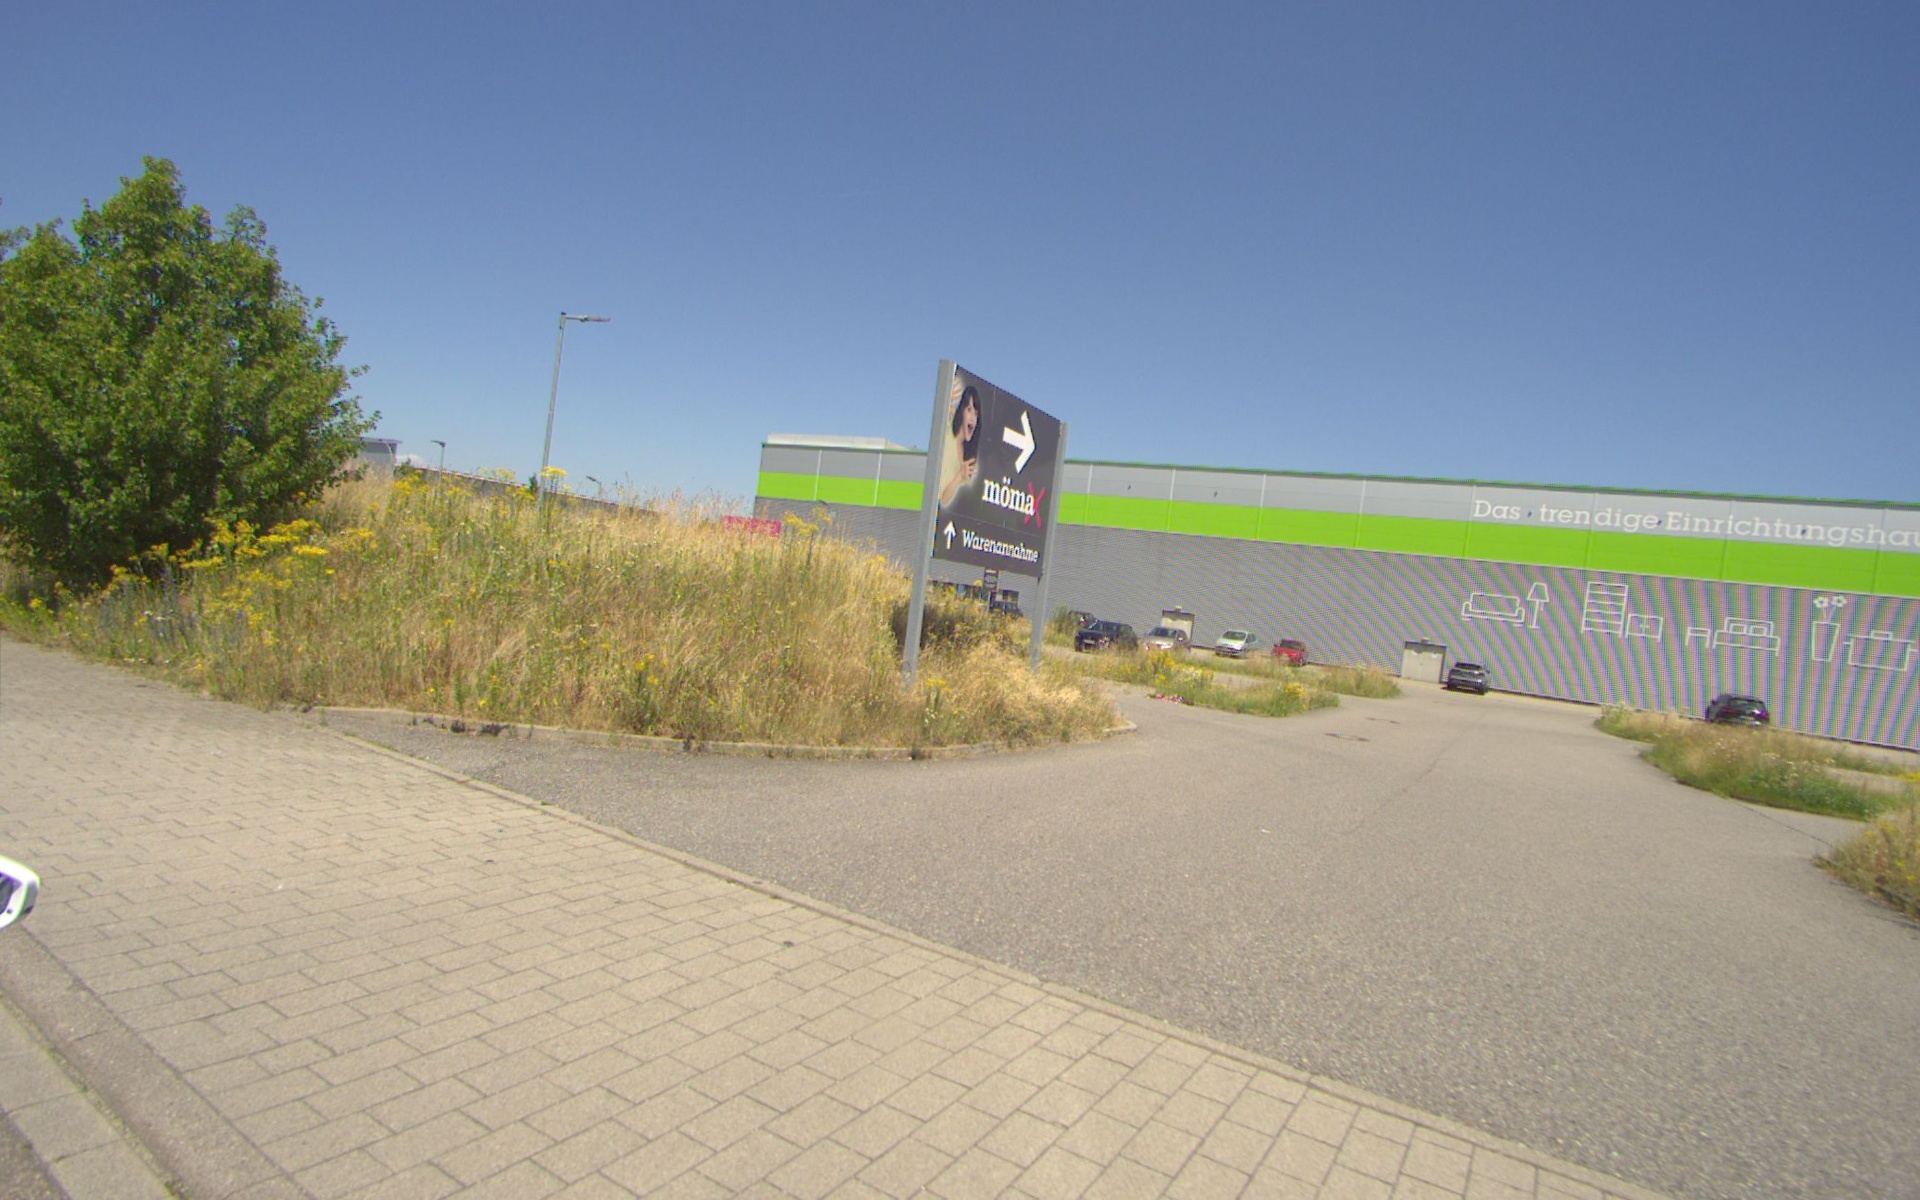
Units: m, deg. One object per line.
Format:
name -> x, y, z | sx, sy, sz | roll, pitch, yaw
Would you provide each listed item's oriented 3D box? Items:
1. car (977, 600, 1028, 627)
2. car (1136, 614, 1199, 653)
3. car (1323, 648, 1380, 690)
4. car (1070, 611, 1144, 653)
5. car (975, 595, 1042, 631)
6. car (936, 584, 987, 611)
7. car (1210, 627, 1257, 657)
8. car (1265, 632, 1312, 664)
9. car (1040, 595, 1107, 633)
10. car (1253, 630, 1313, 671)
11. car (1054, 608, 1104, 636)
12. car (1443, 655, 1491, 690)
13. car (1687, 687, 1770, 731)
car -> 2.930, 0.974, 68.781 | 1.964, 1.538, 3.996 | 6, 0, 25
car -> 9.883, 1.608, 47.673 | 1.964, 1.538, 3.996 | 6, 0, 25
car -> 17.292, 2.996, 44.341 | 1.964, 1.538, 3.995 | 6, 0, 25
car -> 6.296, 1.364, 42.742 | 1.964, 1.493, 3.996 | 6, 0, 25
car -> 2.519, 0.693, 51.689 | 1.964, 1.538, 3.996 | 6, 0, 25
car -> 0.110, -0.125, 70.426 | 1.964, 1.538, 3.996 | 6, 0, 25
car -> 16.163, 2.495, 59.336 | 1.964, 1.493, 3.996 | 6, 0, 25
car -> 19.007, 2.756, 58.103 | 1.964, 1.538, 3.996 | 6, 0, 25
car -> 5.572, 0.688, 48.931 | 1.964, 1.538, 3.996 | 6, 0, 25
car -> 14.455, 2.229, 44.848 | 1.964, 1.538, 3.996 | 6, 0, 25
car -> 7.740, 1.453, 64.948 | 1.964, 1.538, 3.996 | 6, 0, 25
car -> 26.785, 3.804, 53.210 | 1.964, 1.538, 3.996 | 6, 0, 25
car -> 36.007, 5.077, 47.294 | 1.964, 1.538, 4.662 | 6, 0, 25
